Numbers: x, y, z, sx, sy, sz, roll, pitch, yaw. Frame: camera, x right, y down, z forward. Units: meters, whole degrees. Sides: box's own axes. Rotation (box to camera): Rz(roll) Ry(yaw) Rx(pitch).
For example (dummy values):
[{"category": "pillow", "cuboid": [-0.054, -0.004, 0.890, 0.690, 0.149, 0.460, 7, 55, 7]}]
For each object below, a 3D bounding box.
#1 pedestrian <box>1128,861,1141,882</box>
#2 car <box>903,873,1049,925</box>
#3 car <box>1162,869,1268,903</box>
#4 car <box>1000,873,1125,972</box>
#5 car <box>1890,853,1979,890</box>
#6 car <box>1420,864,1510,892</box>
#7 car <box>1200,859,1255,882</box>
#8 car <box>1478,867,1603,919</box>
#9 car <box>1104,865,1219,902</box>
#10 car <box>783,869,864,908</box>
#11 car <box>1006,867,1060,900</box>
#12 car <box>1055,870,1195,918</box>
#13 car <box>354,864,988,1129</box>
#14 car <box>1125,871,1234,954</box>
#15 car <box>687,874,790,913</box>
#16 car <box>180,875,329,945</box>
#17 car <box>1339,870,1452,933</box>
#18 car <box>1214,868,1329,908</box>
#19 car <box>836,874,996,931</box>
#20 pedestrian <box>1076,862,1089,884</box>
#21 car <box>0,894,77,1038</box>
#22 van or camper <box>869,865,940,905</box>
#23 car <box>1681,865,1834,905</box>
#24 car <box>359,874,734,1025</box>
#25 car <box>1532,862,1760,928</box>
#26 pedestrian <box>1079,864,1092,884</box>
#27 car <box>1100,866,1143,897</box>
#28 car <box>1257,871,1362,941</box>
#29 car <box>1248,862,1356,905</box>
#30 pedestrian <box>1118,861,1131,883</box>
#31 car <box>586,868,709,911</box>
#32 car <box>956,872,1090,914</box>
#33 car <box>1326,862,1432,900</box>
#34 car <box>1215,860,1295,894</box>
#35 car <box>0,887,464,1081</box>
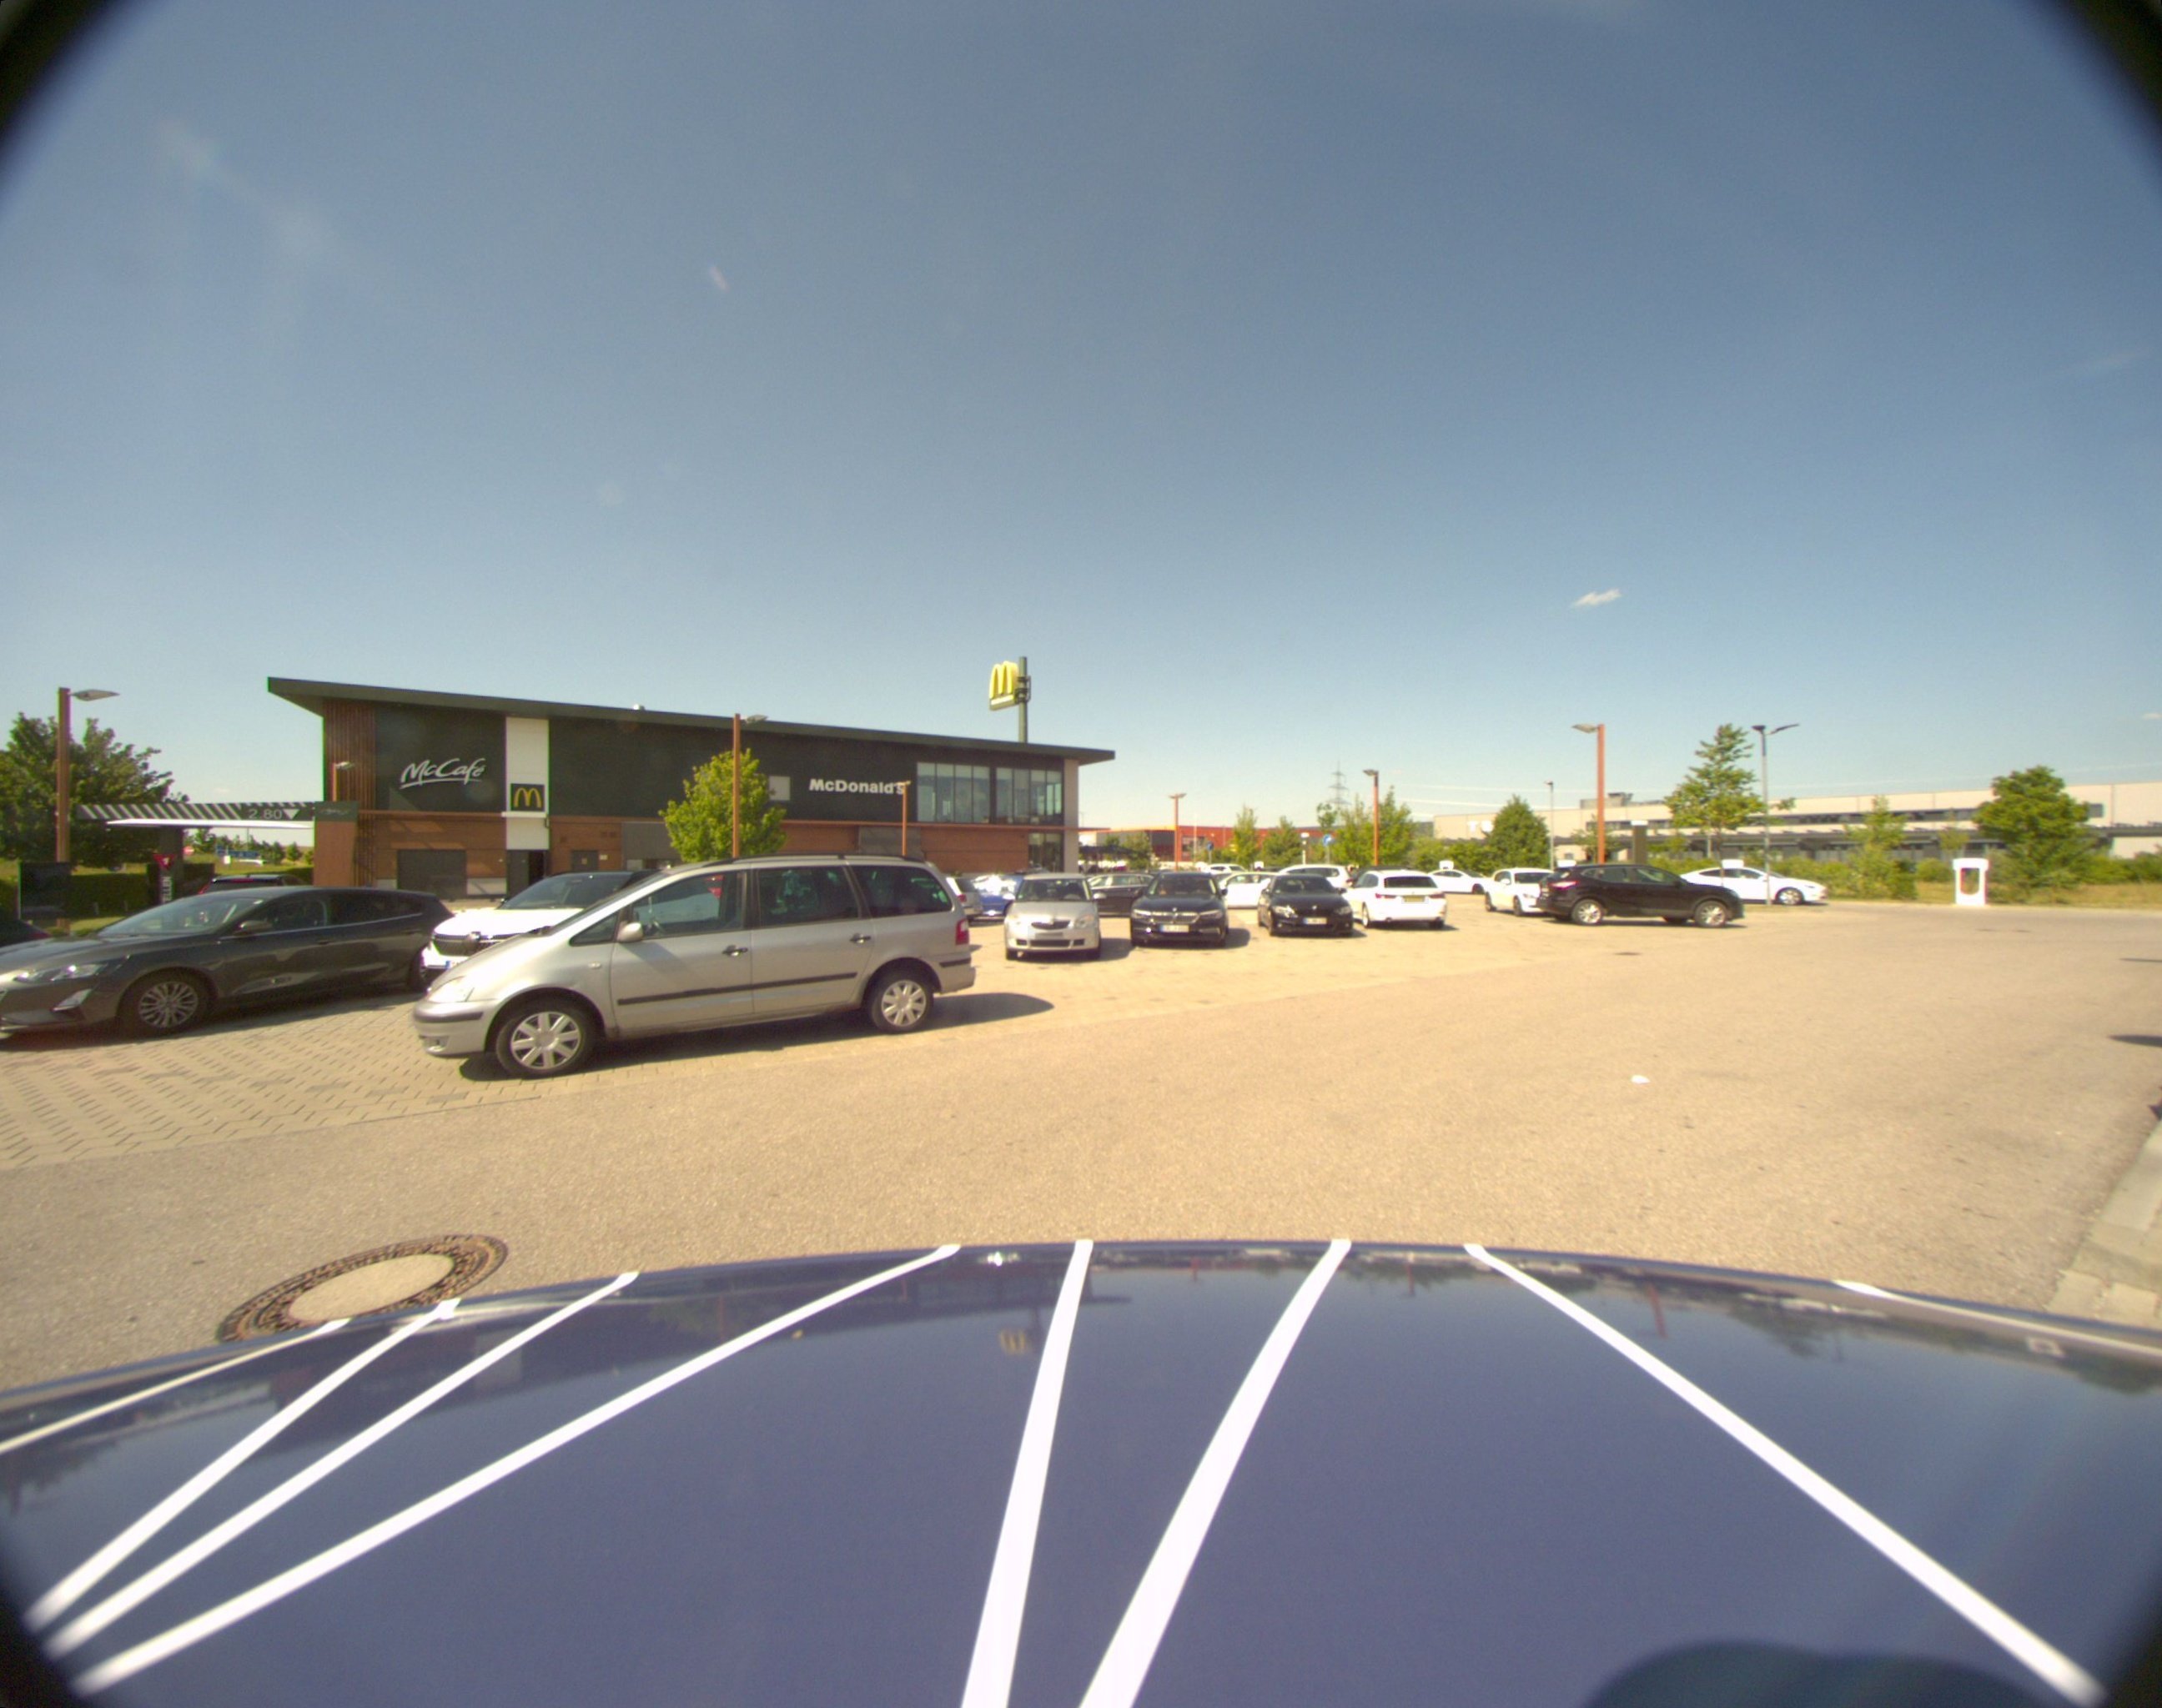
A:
[{"category": "pedestrian", "cuboid": [3.980, 1.314, 56.401, 0.703, 1.550, 0.720, -1, 0, -31]}, {"category": "car", "cuboid": [-3.232, 1.380, 23.734, 4.107, 1.506, 1.815, -1, 0, 14]}, {"category": "car", "cuboid": [6.156, 1.468, 34.881, 4.636, 1.478, 1.898, -1, 0, 14]}, {"category": "car", "cuboid": [-0.352, 1.153, 14.238, 1.974, 1.517, 4.207, -1, -1, -2]}, {"category": "car", "cuboid": [43.193, 0.864, 38.430, 4.262, 1.739, 1.915, 0, -1, -26]}, {"category": "car", "cuboid": [22.022, 1.339, 43.775, 1.845, 1.470, 4.323, 0, -1, -31]}, {"category": "car", "cuboid": [10.308, 1.193, 53.644, 1.766, 1.552, 3.875, 0, -1, -28]}, {"category": "car", "cuboid": [14.067, 1.136, 23.581, 1.972, 1.451, 4.211, -1, -1, 11]}, {"category": "car", "cuboid": [3.487, 1.263, 32.672, 4.636, 1.478, 1.898, -1, 0, 14]}, {"category": "car", "cuboid": [-11.260, 1.482, 33.497, 1.712, 1.506, 3.953, -1, 0, 8]}, {"category": "car", "cuboid": [-2.446, 1.506, 39.429, 1.714, 1.603, 4.041, -1, -1, 13]}, {"category": "car", "cuboid": [1.476, 1.295, 24.943, 4.272, 1.478, 1.815, -1, 0, 14]}, {"category": "car", "cuboid": [-3.414, 0.991, 7.171, 4.691, 1.738, 1.829, 0, 0, -32]}, {"category": "car", "cuboid": [2.260, 1.137, 16.358, 1.972, 1.477, 4.788, -1, -1, 11]}, {"category": "car", "cuboid": [-14.245, 1.600, 31.921, 1.960, 1.456, 4.470, -1, -1, 5]}, {"category": "car", "cuboid": [-22.781, 1.447, 21.146, 2.001, 1.681, 4.225, 0, -1, -36]}, {"category": "car", "cuboid": [8.088, 1.157, 19.955, 1.833, 1.451, 4.589, -1, -1, 11]}, {"category": "car", "cuboid": [7.207, 1.292, 28.873, 4.107, 1.405, 1.815, -1, 0, 14]}, {"category": "car", "cuboid": [-4.681, 1.362, 21.683, 4.107, 1.484, 1.714, -1, 0, 14]}, {"category": "pedestrian", "cuboid": [0.119, 1.382, 55.413, 0.700, 1.550, 0.723, -1, -1, 30]}, {"category": "car", "cuboid": [-12.884, 1.192, 6.755, 1.972, 1.517, 4.338, 0, -1, 13]}, {"category": "van or camper", "cuboid": [-8.171, 1.400, 35.600, 1.709, 1.764, 4.033, -1, -1, 11]}, {"category": "car", "cuboid": [28.714, 1.269, 32.382, 1.846, 1.583, 4.565, 0, -1, -35]}, {"category": "car", "cuboid": [-7.005, 1.130, 10.651, 1.973, 1.644, 4.210, -1, -1, 7]}, {"category": "car", "cuboid": [14.260, 0.994, 19.465, 4.295, 1.581, 1.860, 0, -1, 15]}, {"category": "pedestrian", "cuboid": [0.308, 1.513, 57.365, 0.700, 1.550, 0.723, -1, -1, 30]}, {"category": "car", "cuboid": [2.286, 1.496, 42.313, 1.714, 1.603, 4.041, -1, -1, 13]}, {"category": "car", "cuboid": [5.335, 1.163, 18.294, 1.834, 1.451, 4.374, -1, -1, 9]}, {"category": "car", "cuboid": [8.967, 1.185, 31.086, 4.107, 1.664, 1.815, -1, 0, 14]}, {"category": "pedestrian", "cuboid": [3.176, 1.308, 55.496, 0.703, 1.550, 0.720, -1, 0, -31]}, {"category": "car", "cuboid": [-17.397, 1.366, 30.786, 1.960, 1.593, 4.471, -1, -1, 8]}, {"category": "car", "cuboid": [-2.158, 1.466, 28.703, 4.636, 1.478, 1.898, -1, 0, 14]}, {"category": "car", "cuboid": [12.801, 1.167, 32.876, 3.993, 1.542, 1.756, -1, -1, 11]}, {"category": "car", "cuboid": [9.338, 1.247, 40.732, 3.950, 1.764, 1.656, -1, -1, 19]}, {"category": "car", "cuboid": [-9.791, 1.200, 8.589, 1.973, 1.517, 4.210, -1, -1, 6]}]
